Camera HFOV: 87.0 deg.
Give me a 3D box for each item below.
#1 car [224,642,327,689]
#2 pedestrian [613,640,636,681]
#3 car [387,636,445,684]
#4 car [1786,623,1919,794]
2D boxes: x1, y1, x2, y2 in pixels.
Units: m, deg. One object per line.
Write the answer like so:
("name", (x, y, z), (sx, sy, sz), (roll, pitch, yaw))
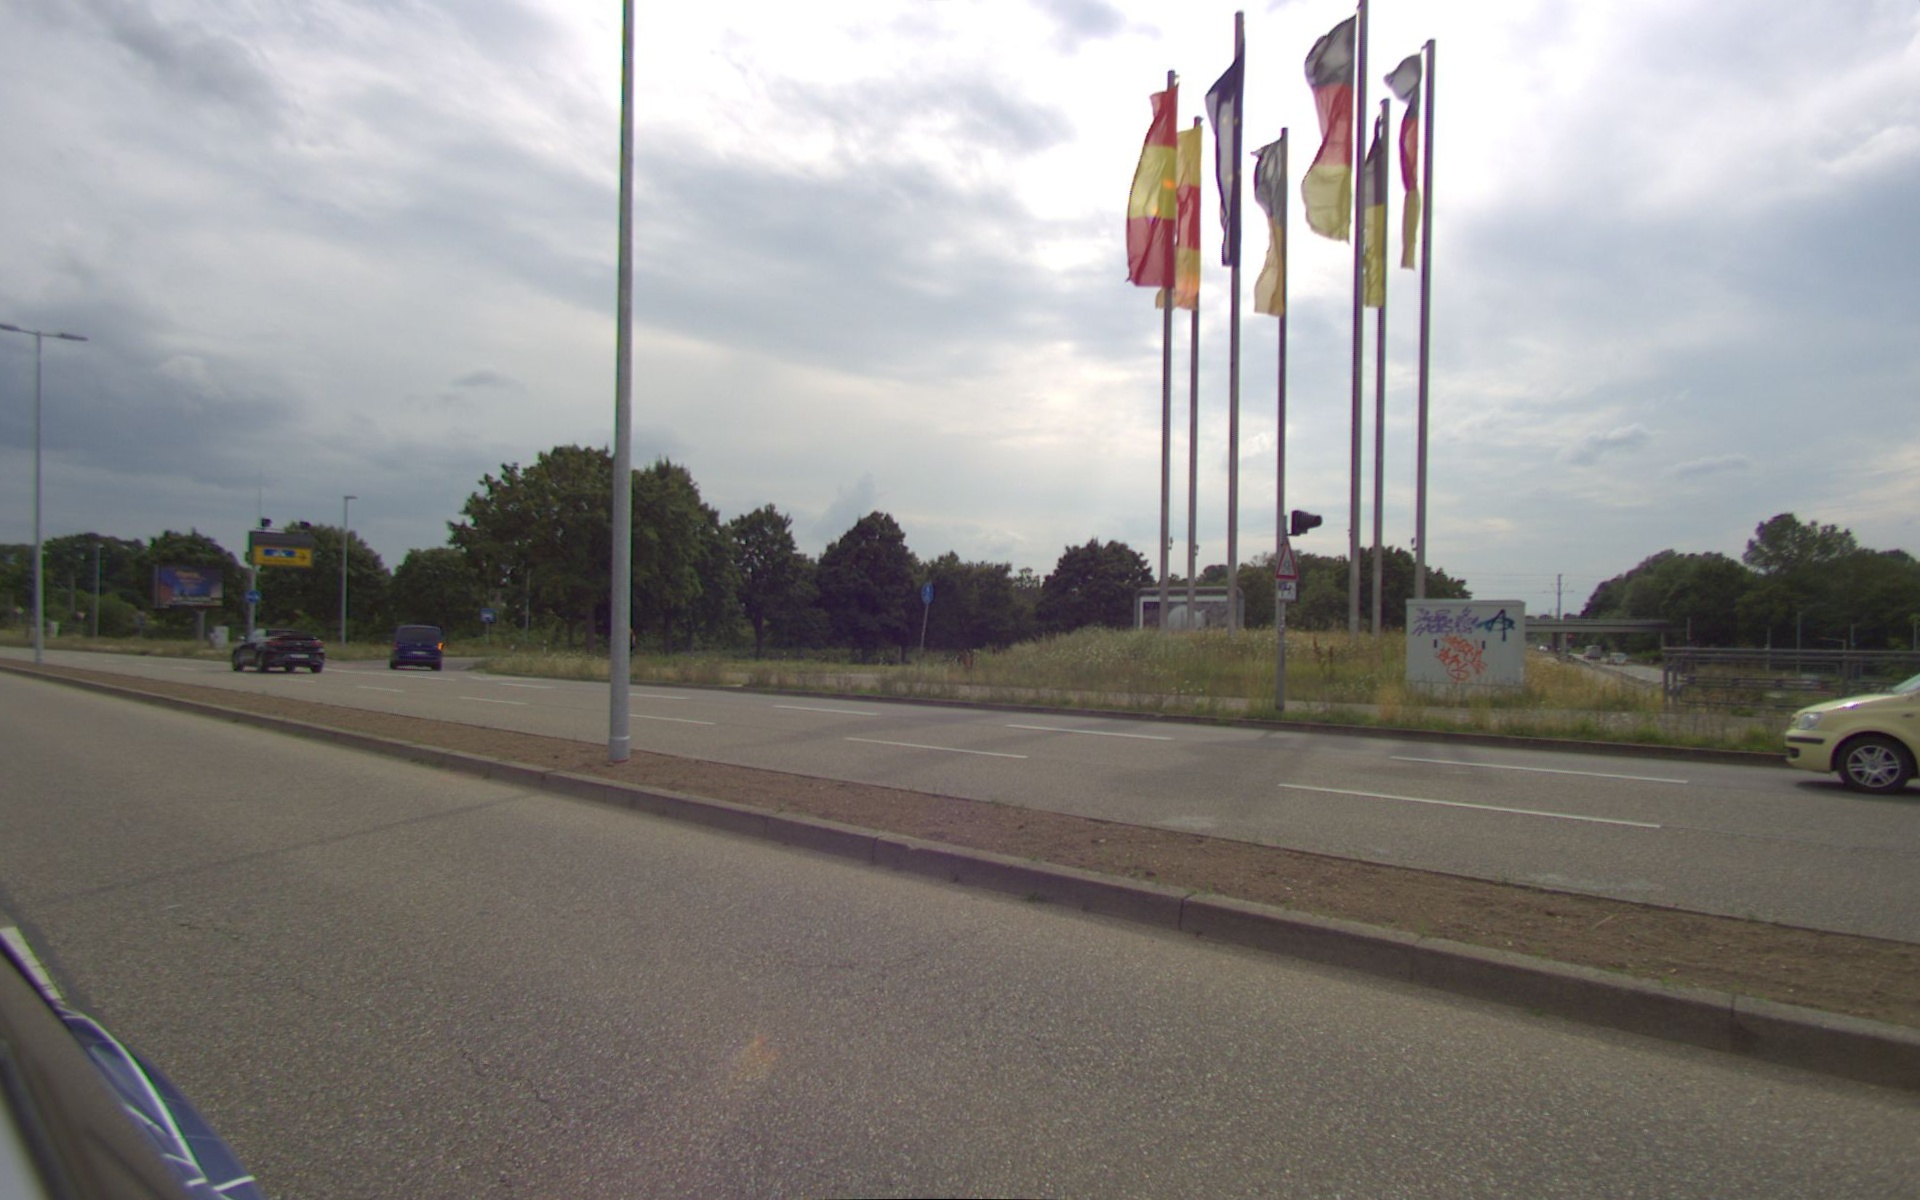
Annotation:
("car", (-22.804, 2.134, 33.670), (4.174, 1.452, 1.745), (-2, -4, 40))
("pedestrian", (-13.919, 2.505, 41.984), (0.853, 1.706, 0.681), (1, -3, -17))
("car", (-23.607, 2.570, 43.813), (1.821, 1.908, 5.520), (4, -4, -31))
("car", (10.109, 1.019, 9.424), (3.688, 1.590, 1.533), (-2, -4, 40))
